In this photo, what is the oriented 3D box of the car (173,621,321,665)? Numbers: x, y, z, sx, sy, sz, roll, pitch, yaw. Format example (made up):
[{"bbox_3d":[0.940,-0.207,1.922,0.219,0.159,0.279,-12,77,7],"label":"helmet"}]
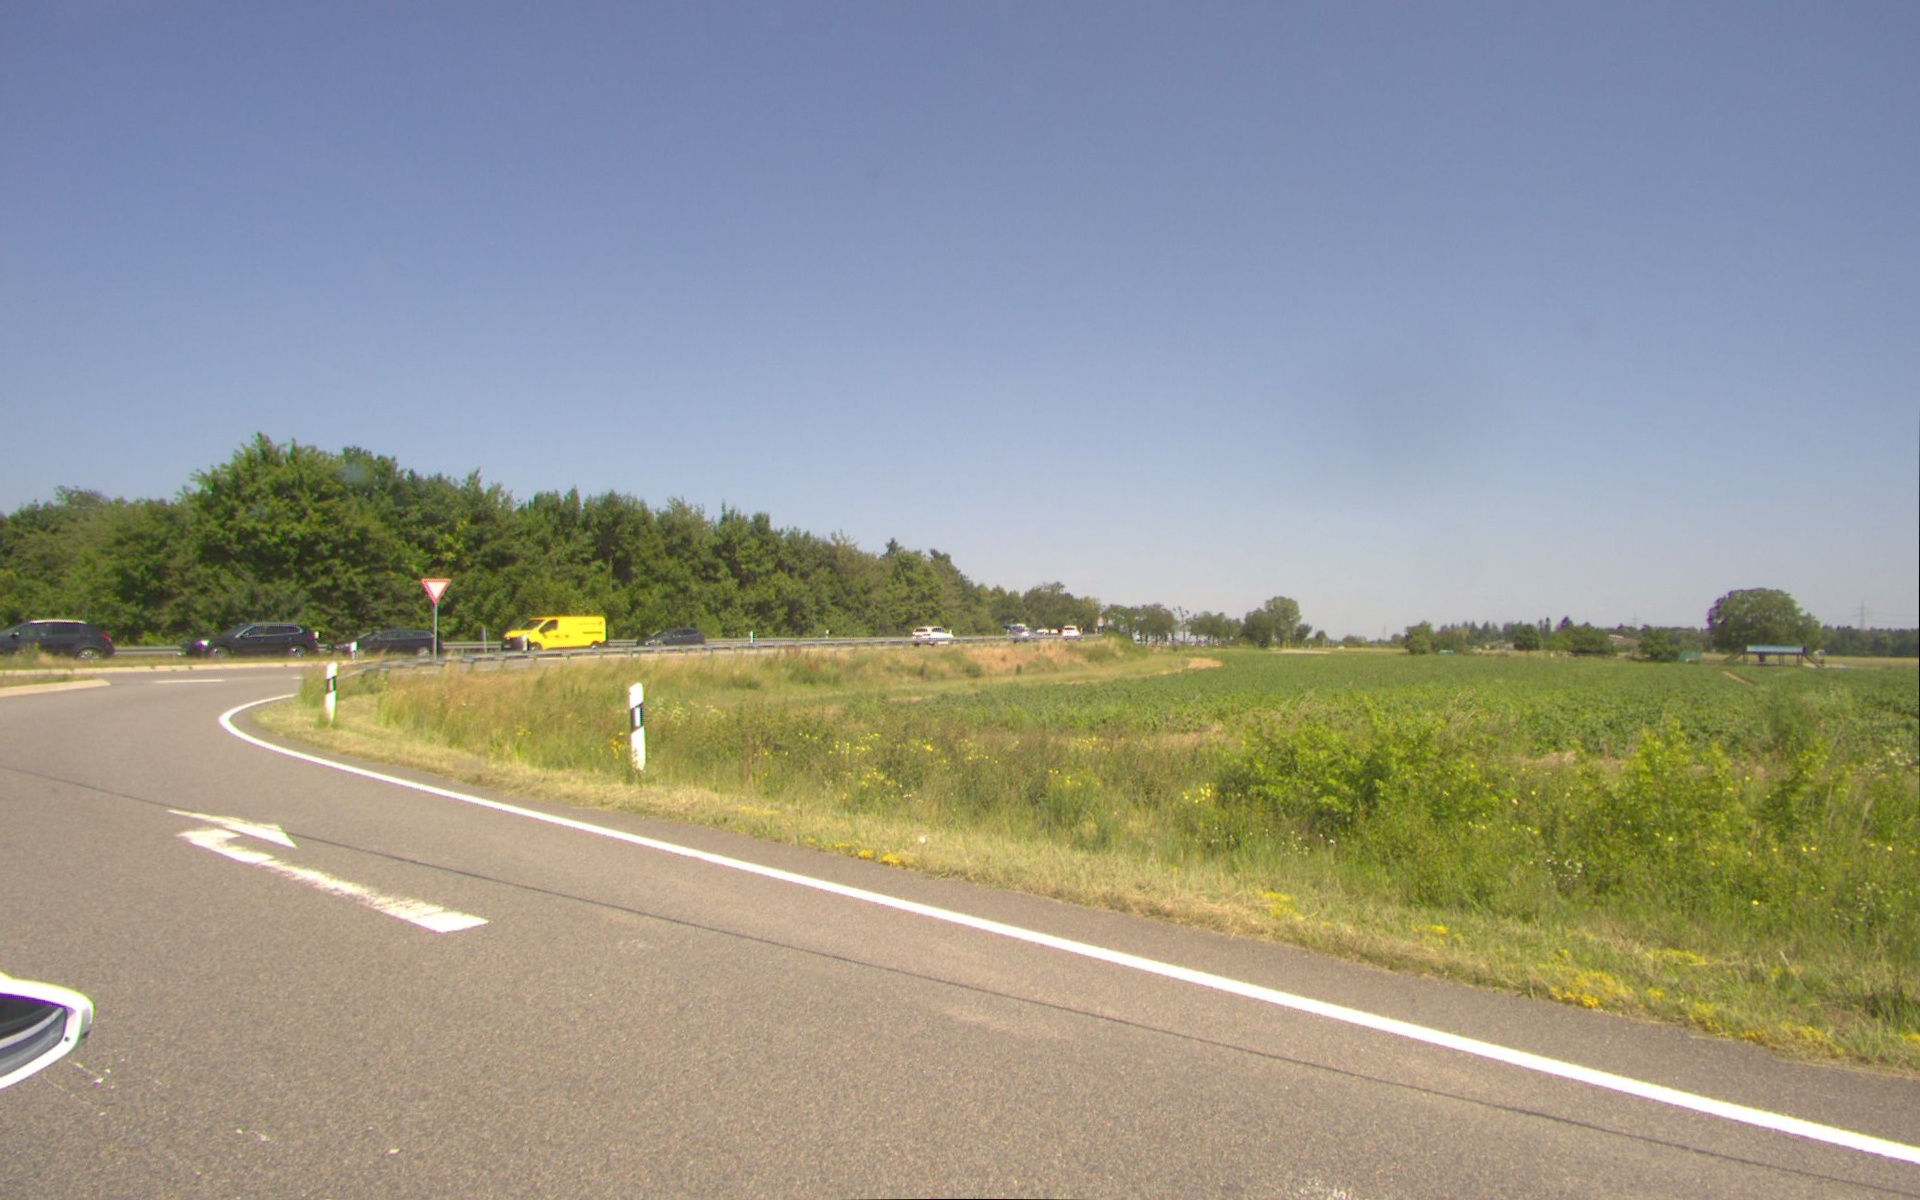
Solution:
[{"bbox_3d":[-28.040,1.668,39.517,1.744,1.618,4.475,-1,-2,34],"label":"car"}]

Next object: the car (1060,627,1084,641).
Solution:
[{"bbox_3d":[12.238,3.715,109.396,1.708,1.587,4.478,-1,-2,18],"label":"car"}]

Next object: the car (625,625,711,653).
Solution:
[{"bbox_3d":[-16.615,2.203,57.151,1.828,1.533,4.671,-1,-2,34],"label":"car"}]

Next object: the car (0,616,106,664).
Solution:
[{"bbox_3d":[-32.987,1.408,35.398,1.818,1.661,3.972,-1,-2,37],"label":"car"}]

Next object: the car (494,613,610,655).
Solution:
[{"bbox_3d":[-20.565,1.708,50.711,1.972,2.039,5.311,-1,-2,33],"label":"car"}]

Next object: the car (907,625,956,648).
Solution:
[{"bbox_3d":[-2.065,2.684,74.697,1.712,1.587,4.466,-1,0,27],"label":"car"}]

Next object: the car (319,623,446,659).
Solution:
[{"bbox_3d":[-26.054,1.827,45.283,1.831,1.533,4.664,-1,-2,39],"label":"car"}]

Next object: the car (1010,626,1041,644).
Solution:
[{"bbox_3d":[5.978,3.202,91.740,1.710,1.587,3.684,-1,-2,23],"label":"car"}]
